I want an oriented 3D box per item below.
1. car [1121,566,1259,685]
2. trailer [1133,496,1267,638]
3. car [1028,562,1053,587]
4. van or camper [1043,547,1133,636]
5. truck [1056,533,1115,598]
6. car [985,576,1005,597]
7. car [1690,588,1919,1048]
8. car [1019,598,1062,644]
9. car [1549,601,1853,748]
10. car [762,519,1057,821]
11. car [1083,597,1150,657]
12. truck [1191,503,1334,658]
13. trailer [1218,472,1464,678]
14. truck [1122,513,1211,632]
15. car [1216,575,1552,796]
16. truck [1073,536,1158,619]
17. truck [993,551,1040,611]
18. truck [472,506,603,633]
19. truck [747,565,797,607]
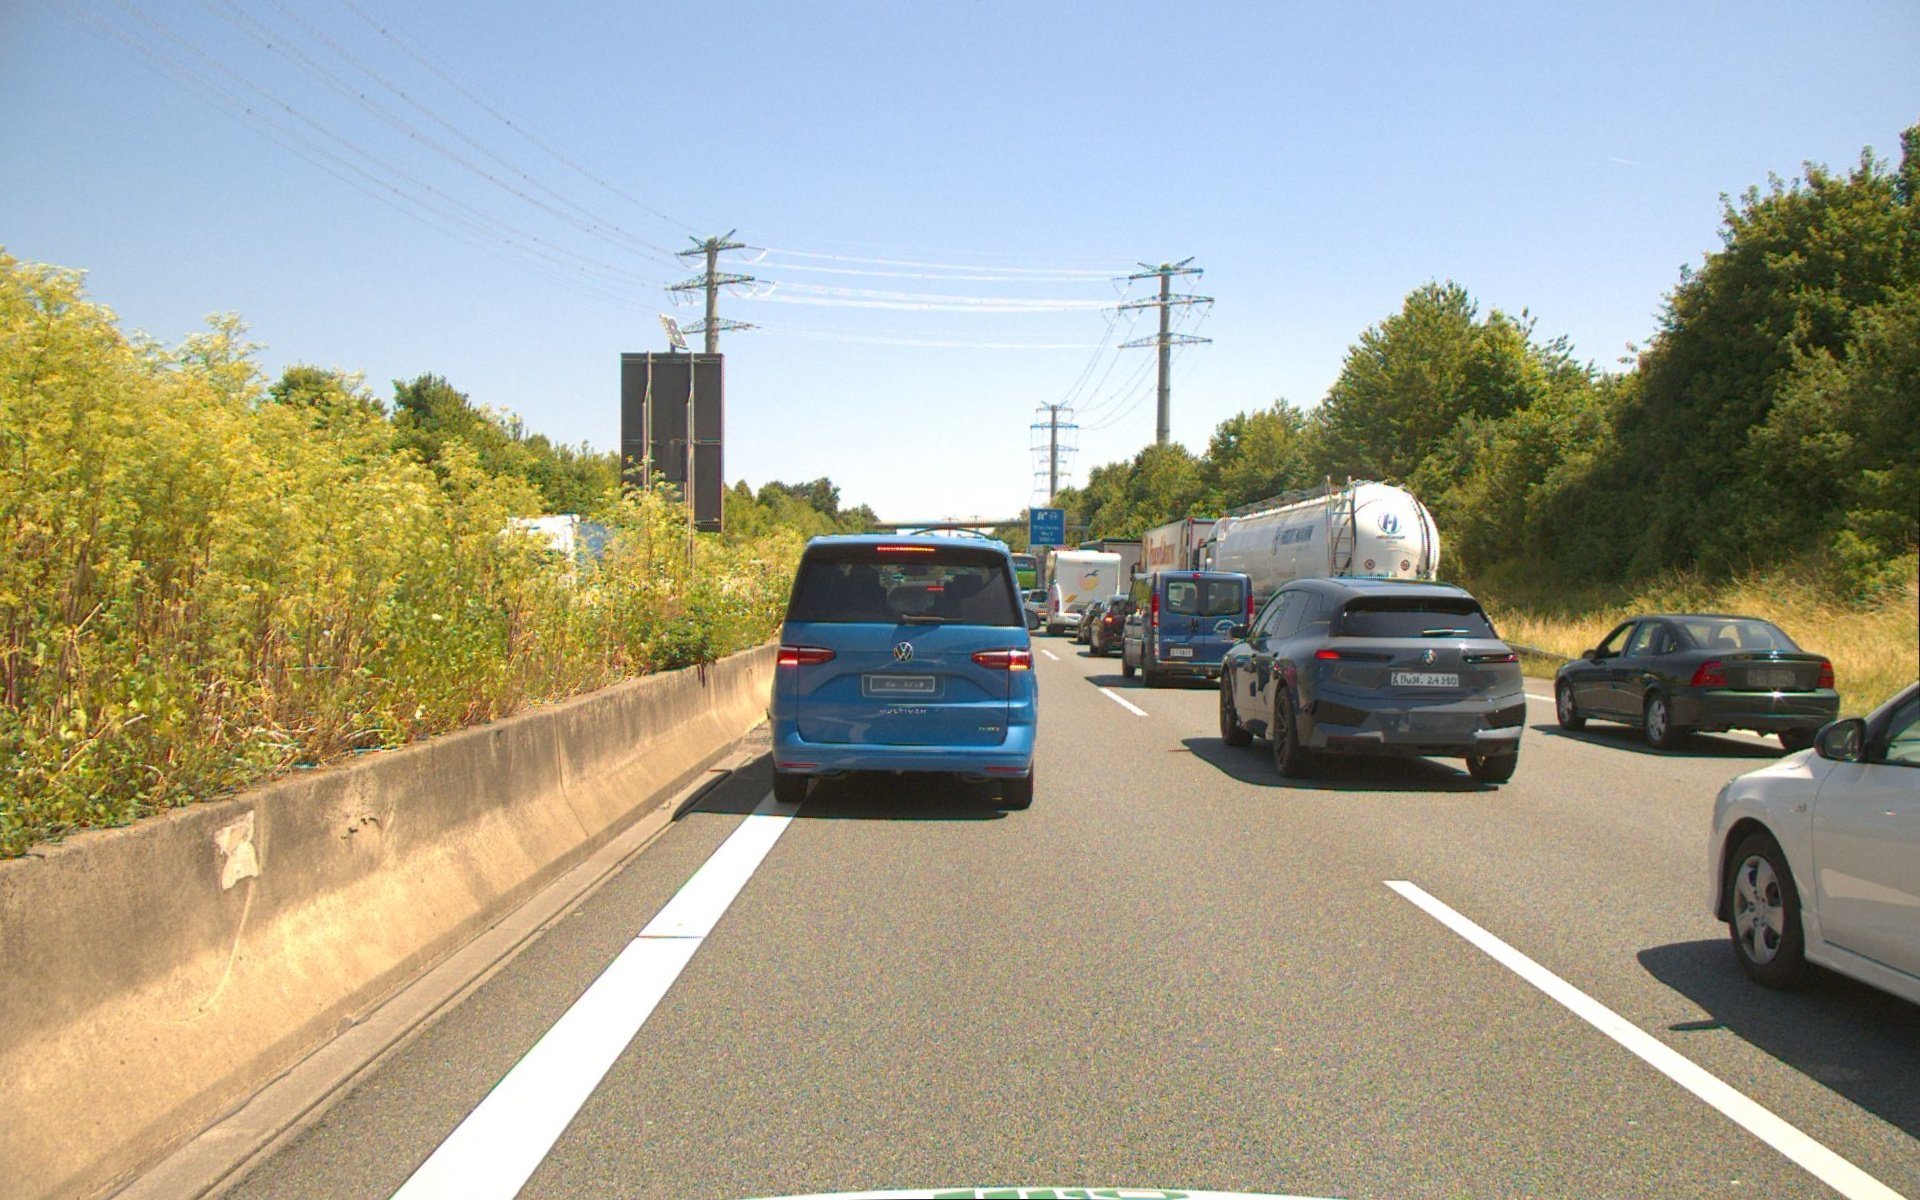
[{"bbox_3d":[4.031,0.445,29.628,1.884,1.959,4.235,-1,-1,0],"label":"car"},{"bbox_3d":[8.322,-1.059,59.025,2.853,4.547,12.151,0,0,-1],"label":"trailer"},{"bbox_3d":[6.893,-2.157,142.018,1.953,2.049,4.000,1,0,0],"label":"car"},{"bbox_3d":[4.661,-0.273,61.369,2.896,3.075,7.103,1,0,1],"label":"van or camper"},{"bbox_3d":[8.004,-2.108,106.848,2.836,3.832,13.344,1,0,0],"label":"truck"},{"bbox_3d":[3.799,-1.455,179.661,1.953,2.163,3.999,1,0,-1],"label":"car"},{"bbox_3d":[4.037,0.713,5.146,1.780,1.511,4.000,0,-1,0],"label":"car"},{"bbox_3d":[3.665,0.963,75.692,1.798,2.033,4.000,-1,-1,1],"label":"car"},{"bbox_3d":[8.114,0.767,18.514,1.607,1.441,3.988,-1,-1,0],"label":"car"},{"bbox_3d":[-0.340,0.445,12.829,1.881,1.919,4.000,2,0,0],"label":"car"},{"bbox_3d":[3.972,0.690,42.353,1.332,1.445,3.884,-1,-1,0],"label":"car"},{"bbox_3d":[7.992,-0.496,44.392,2.736,3.903,5.571,0,0,-1],"label":"truck"},{"bbox_3d":[8.109,-0.483,37.073,2.705,3.912,11.484,0,0,-1],"label":"trailer"},{"bbox_3d":[8.204,-1.057,66.190,2.853,4.547,5.141,0,0,-1],"label":"truck"},{"bbox_3d":[3.705,0.700,15.373,1.958,1.745,4.625,0,-1,0],"label":"car"},{"bbox_3d":[7.794,-1.030,85.118,2.944,3.832,15.712,1,0,0],"label":"truck"},{"bbox_3d":[3.698,-1.206,110.871,2.836,3.832,10.140,1,0,0],"label":"truck"},{"bbox_3d":[-15.163,-1.020,59.871,2.950,4.302,6.686,1,0,0],"label":"truck"},{"bbox_3d":[-15.701,-1.161,139.100,2.708,3.346,11.820,0,0,1],"label":"truck"}]
